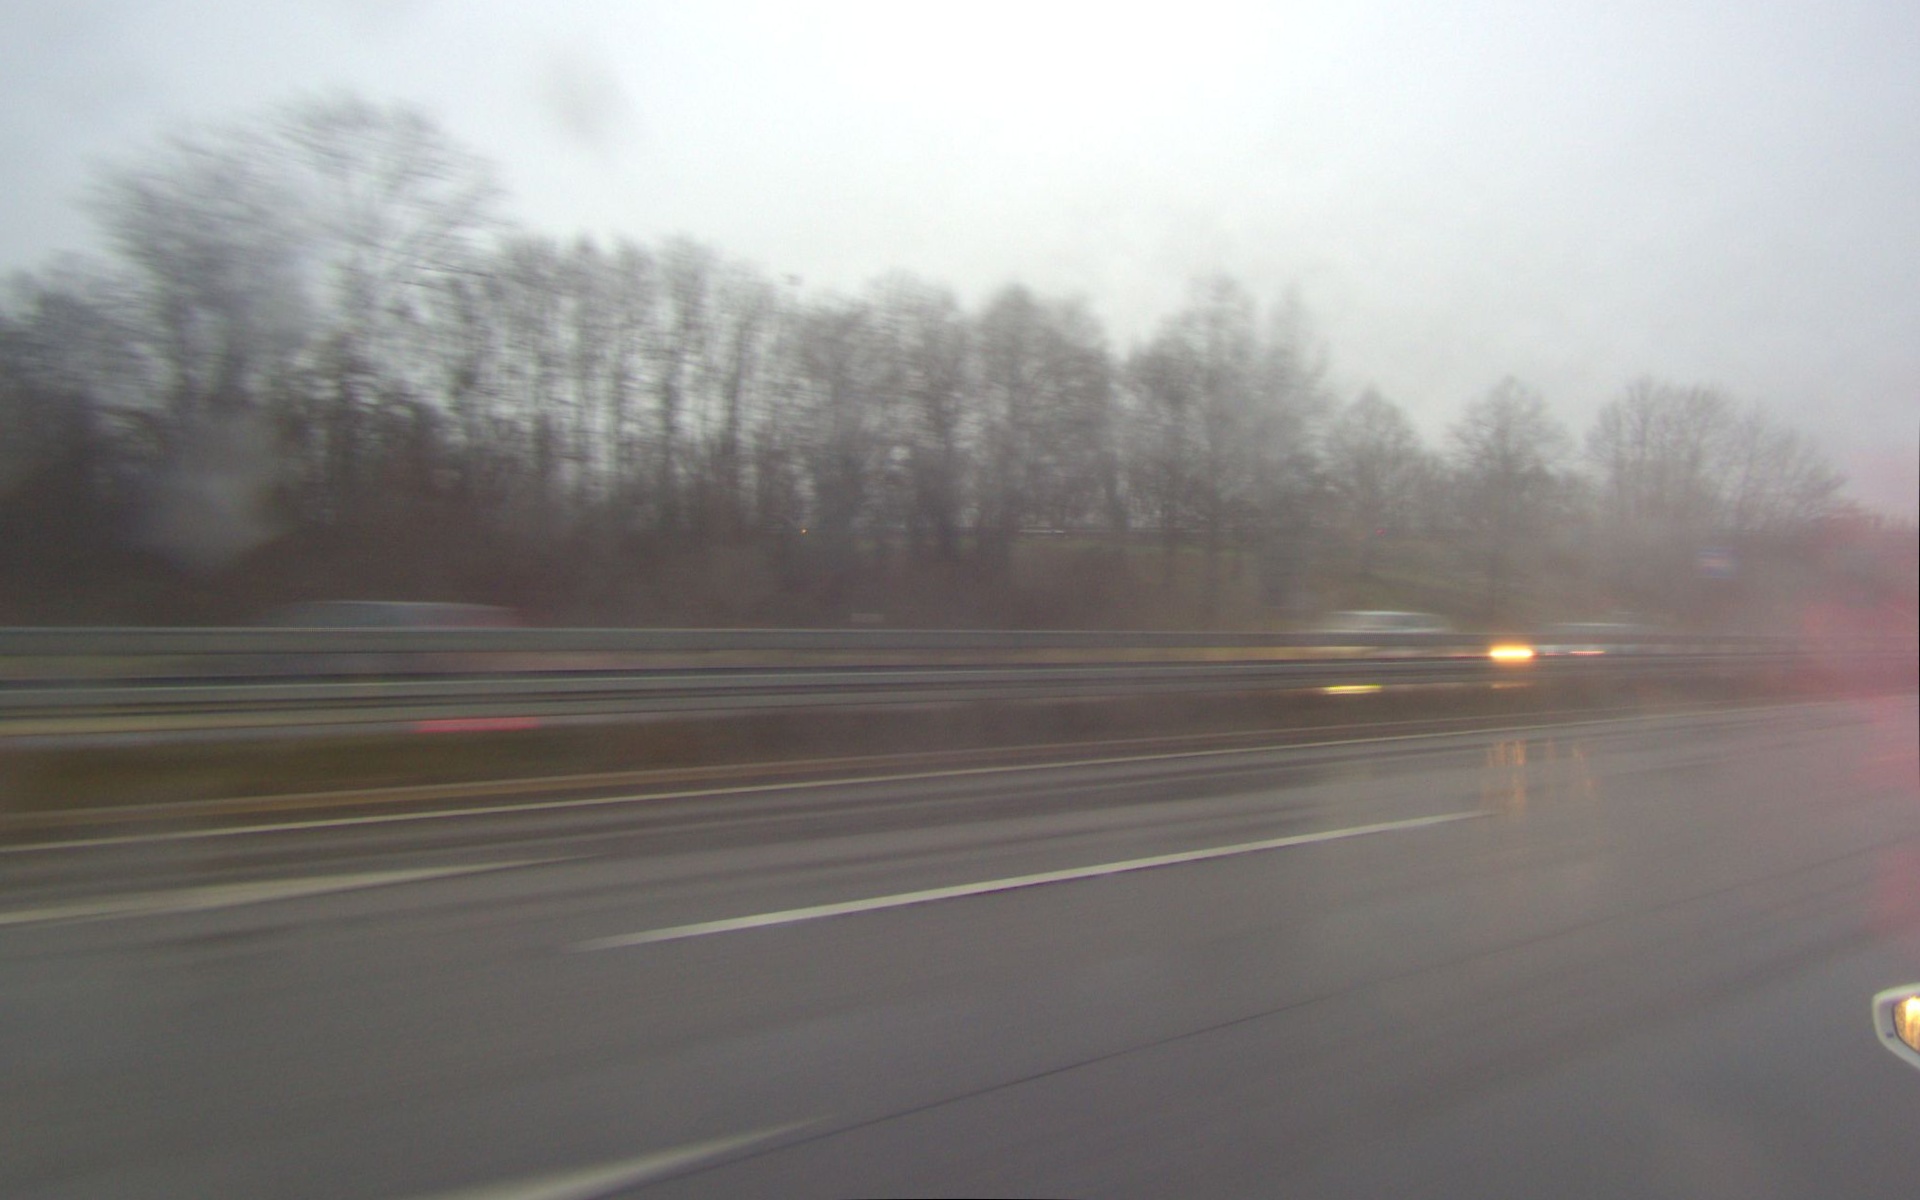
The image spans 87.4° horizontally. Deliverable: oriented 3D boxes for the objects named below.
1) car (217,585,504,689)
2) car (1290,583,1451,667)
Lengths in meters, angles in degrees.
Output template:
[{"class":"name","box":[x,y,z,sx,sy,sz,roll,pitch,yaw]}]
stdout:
[{"class":"car","box":[-10.460,0.676,17.830,4.155,1.657,1.675,2,-2,-30]},{"class":"car","box":[11.242,0.695,27.489,3.953,2.040,1.984,3,0,-30]}]
